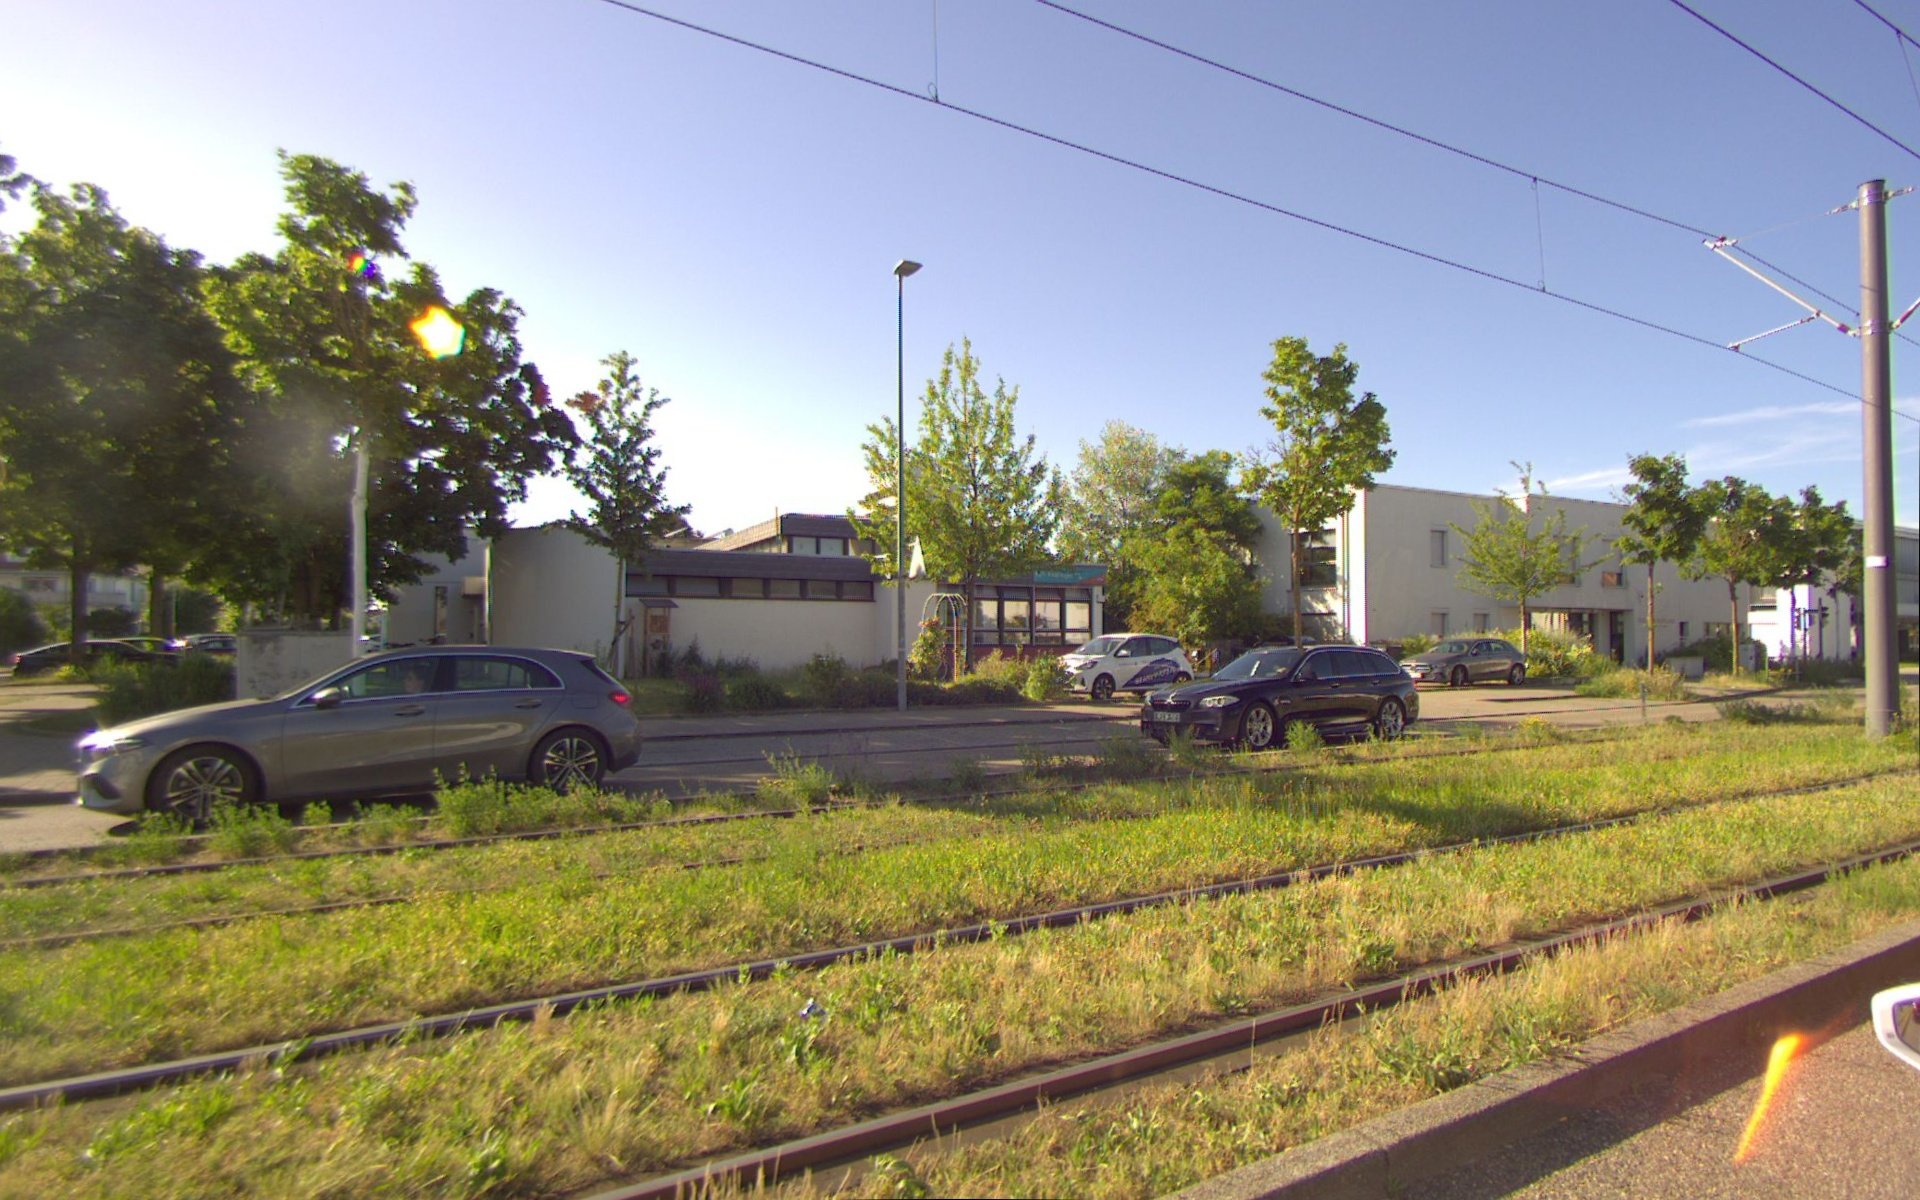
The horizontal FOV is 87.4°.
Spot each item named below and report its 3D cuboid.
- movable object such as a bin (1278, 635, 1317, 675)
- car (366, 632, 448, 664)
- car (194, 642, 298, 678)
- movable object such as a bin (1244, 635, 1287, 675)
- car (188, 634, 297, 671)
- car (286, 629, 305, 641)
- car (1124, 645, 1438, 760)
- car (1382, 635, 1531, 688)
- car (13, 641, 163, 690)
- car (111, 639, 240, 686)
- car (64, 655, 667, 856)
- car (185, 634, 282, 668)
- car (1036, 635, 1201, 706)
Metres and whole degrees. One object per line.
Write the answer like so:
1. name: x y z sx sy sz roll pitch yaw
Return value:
1. movable object such as a bin: 12.560 2.025 37.407 1.236 1.452 0.663 1 -1 -23
2. car: -31.099 2.666 56.623 3.947 1.639 1.761 0 0 -26
3. car: -34.016 2.837 47.969 3.776 1.505 1.719 0 0 -25
4. movable object such as a bin: 11.193 2.000 36.747 1.401 1.401 0.663 1 -1 -23
5. car: -35.972 2.586 50.484 4.105 1.697 1.841 0 0 -25
6. car: -80.554 4.207 121.789 1.415 1.351 3.257 1 -1 -24
7. car: 4.900 1.440 15.080 4.862 1.463 1.753 1 -4 -32
8. car: 14.950 1.813 30.231 4.260 1.480 1.804 1 -1 -26
9. car: -28.186 2.103 32.581 3.268 1.429 1.647 0 0 -19
10. car: -28.207 2.220 36.216 3.342 1.551 1.472 0 0 -19
11. car: -5.063 1.241 9.157 4.337 1.407 1.680 1 -4 -31
12. car: -37.743 2.633 52.301 3.953 1.638 1.616 0 0 -30
13. car: 3.752 1.600 23.559 3.733 1.511 1.536 1 -1 -32
